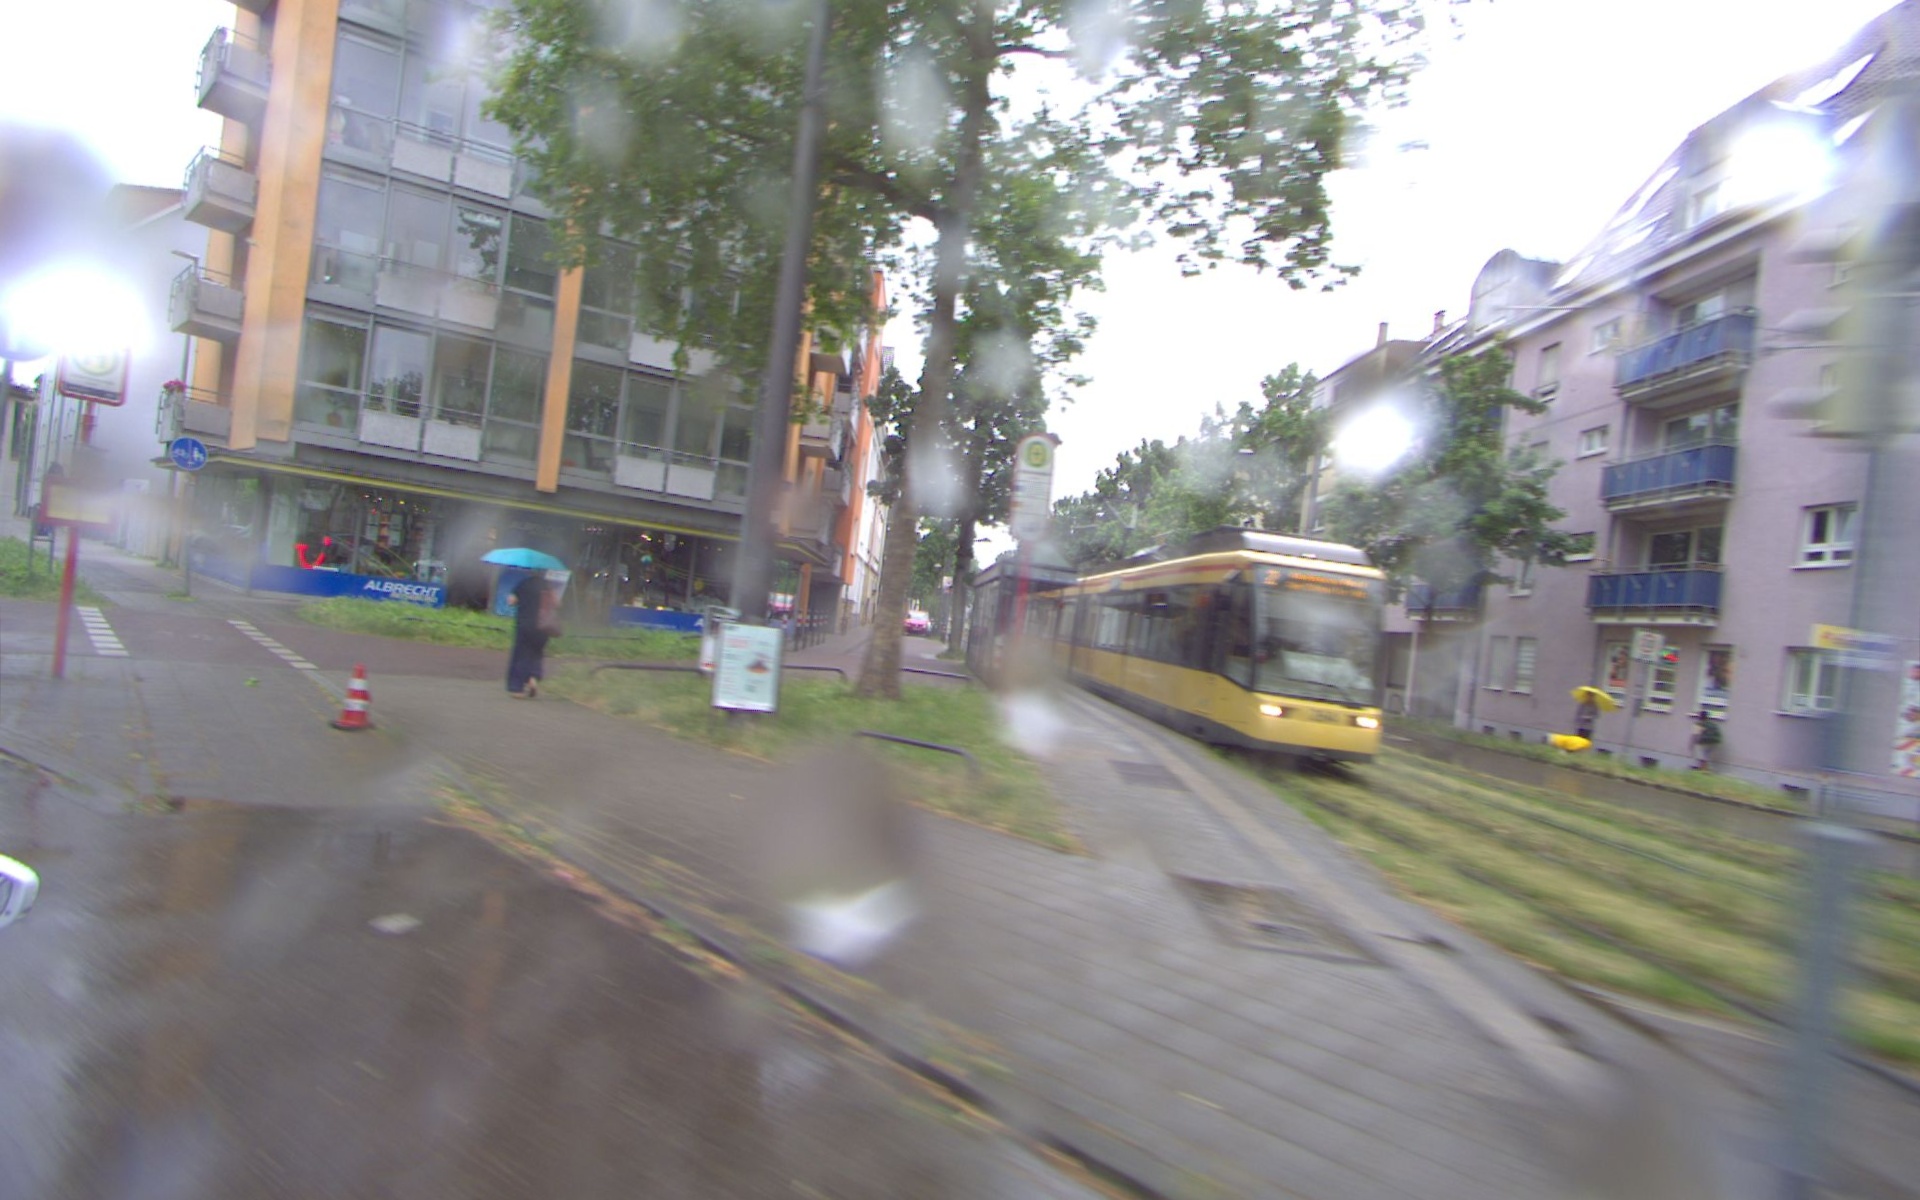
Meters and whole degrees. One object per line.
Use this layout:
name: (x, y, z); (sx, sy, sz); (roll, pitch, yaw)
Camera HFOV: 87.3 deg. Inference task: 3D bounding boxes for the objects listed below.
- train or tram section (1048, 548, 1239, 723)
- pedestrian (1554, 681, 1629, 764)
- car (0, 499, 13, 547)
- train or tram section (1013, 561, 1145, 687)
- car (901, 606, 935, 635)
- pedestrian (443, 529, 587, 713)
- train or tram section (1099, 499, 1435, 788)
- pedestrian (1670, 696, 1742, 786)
train or tram section: (4.275, 0.855, 25.546); (2.598, 3.390, 8.377); (7, -1, -2)
pedestrian: (14.553, 2.801, 23.212); (0.939, 1.718, 0.921); (7, 0, -4)
car: (-32.418, -2.697, 31.002); (1.957, 1.488, 4.524); (6, -1, 43)
train or tram section: (3.770, 0.835, 34.673); (2.598, 3.390, 9.988); (7, -1, -2)
car: (-2.463, 1.175, 58.865); (1.771, 1.415, 3.999); (7, -1, -3)
pedestrian: (-5.106, 0.240, 11.674); (1.156, 1.887, 1.381); (7, 0, -16)
train or tram section: (4.553, 0.672, 17.182); (2.598, 3.409, 8.378); (7, -1, -1)
pedestrian: (15.672, 2.943, 21.135); (0.809, 1.718, 0.684); (7, 0, -7)
